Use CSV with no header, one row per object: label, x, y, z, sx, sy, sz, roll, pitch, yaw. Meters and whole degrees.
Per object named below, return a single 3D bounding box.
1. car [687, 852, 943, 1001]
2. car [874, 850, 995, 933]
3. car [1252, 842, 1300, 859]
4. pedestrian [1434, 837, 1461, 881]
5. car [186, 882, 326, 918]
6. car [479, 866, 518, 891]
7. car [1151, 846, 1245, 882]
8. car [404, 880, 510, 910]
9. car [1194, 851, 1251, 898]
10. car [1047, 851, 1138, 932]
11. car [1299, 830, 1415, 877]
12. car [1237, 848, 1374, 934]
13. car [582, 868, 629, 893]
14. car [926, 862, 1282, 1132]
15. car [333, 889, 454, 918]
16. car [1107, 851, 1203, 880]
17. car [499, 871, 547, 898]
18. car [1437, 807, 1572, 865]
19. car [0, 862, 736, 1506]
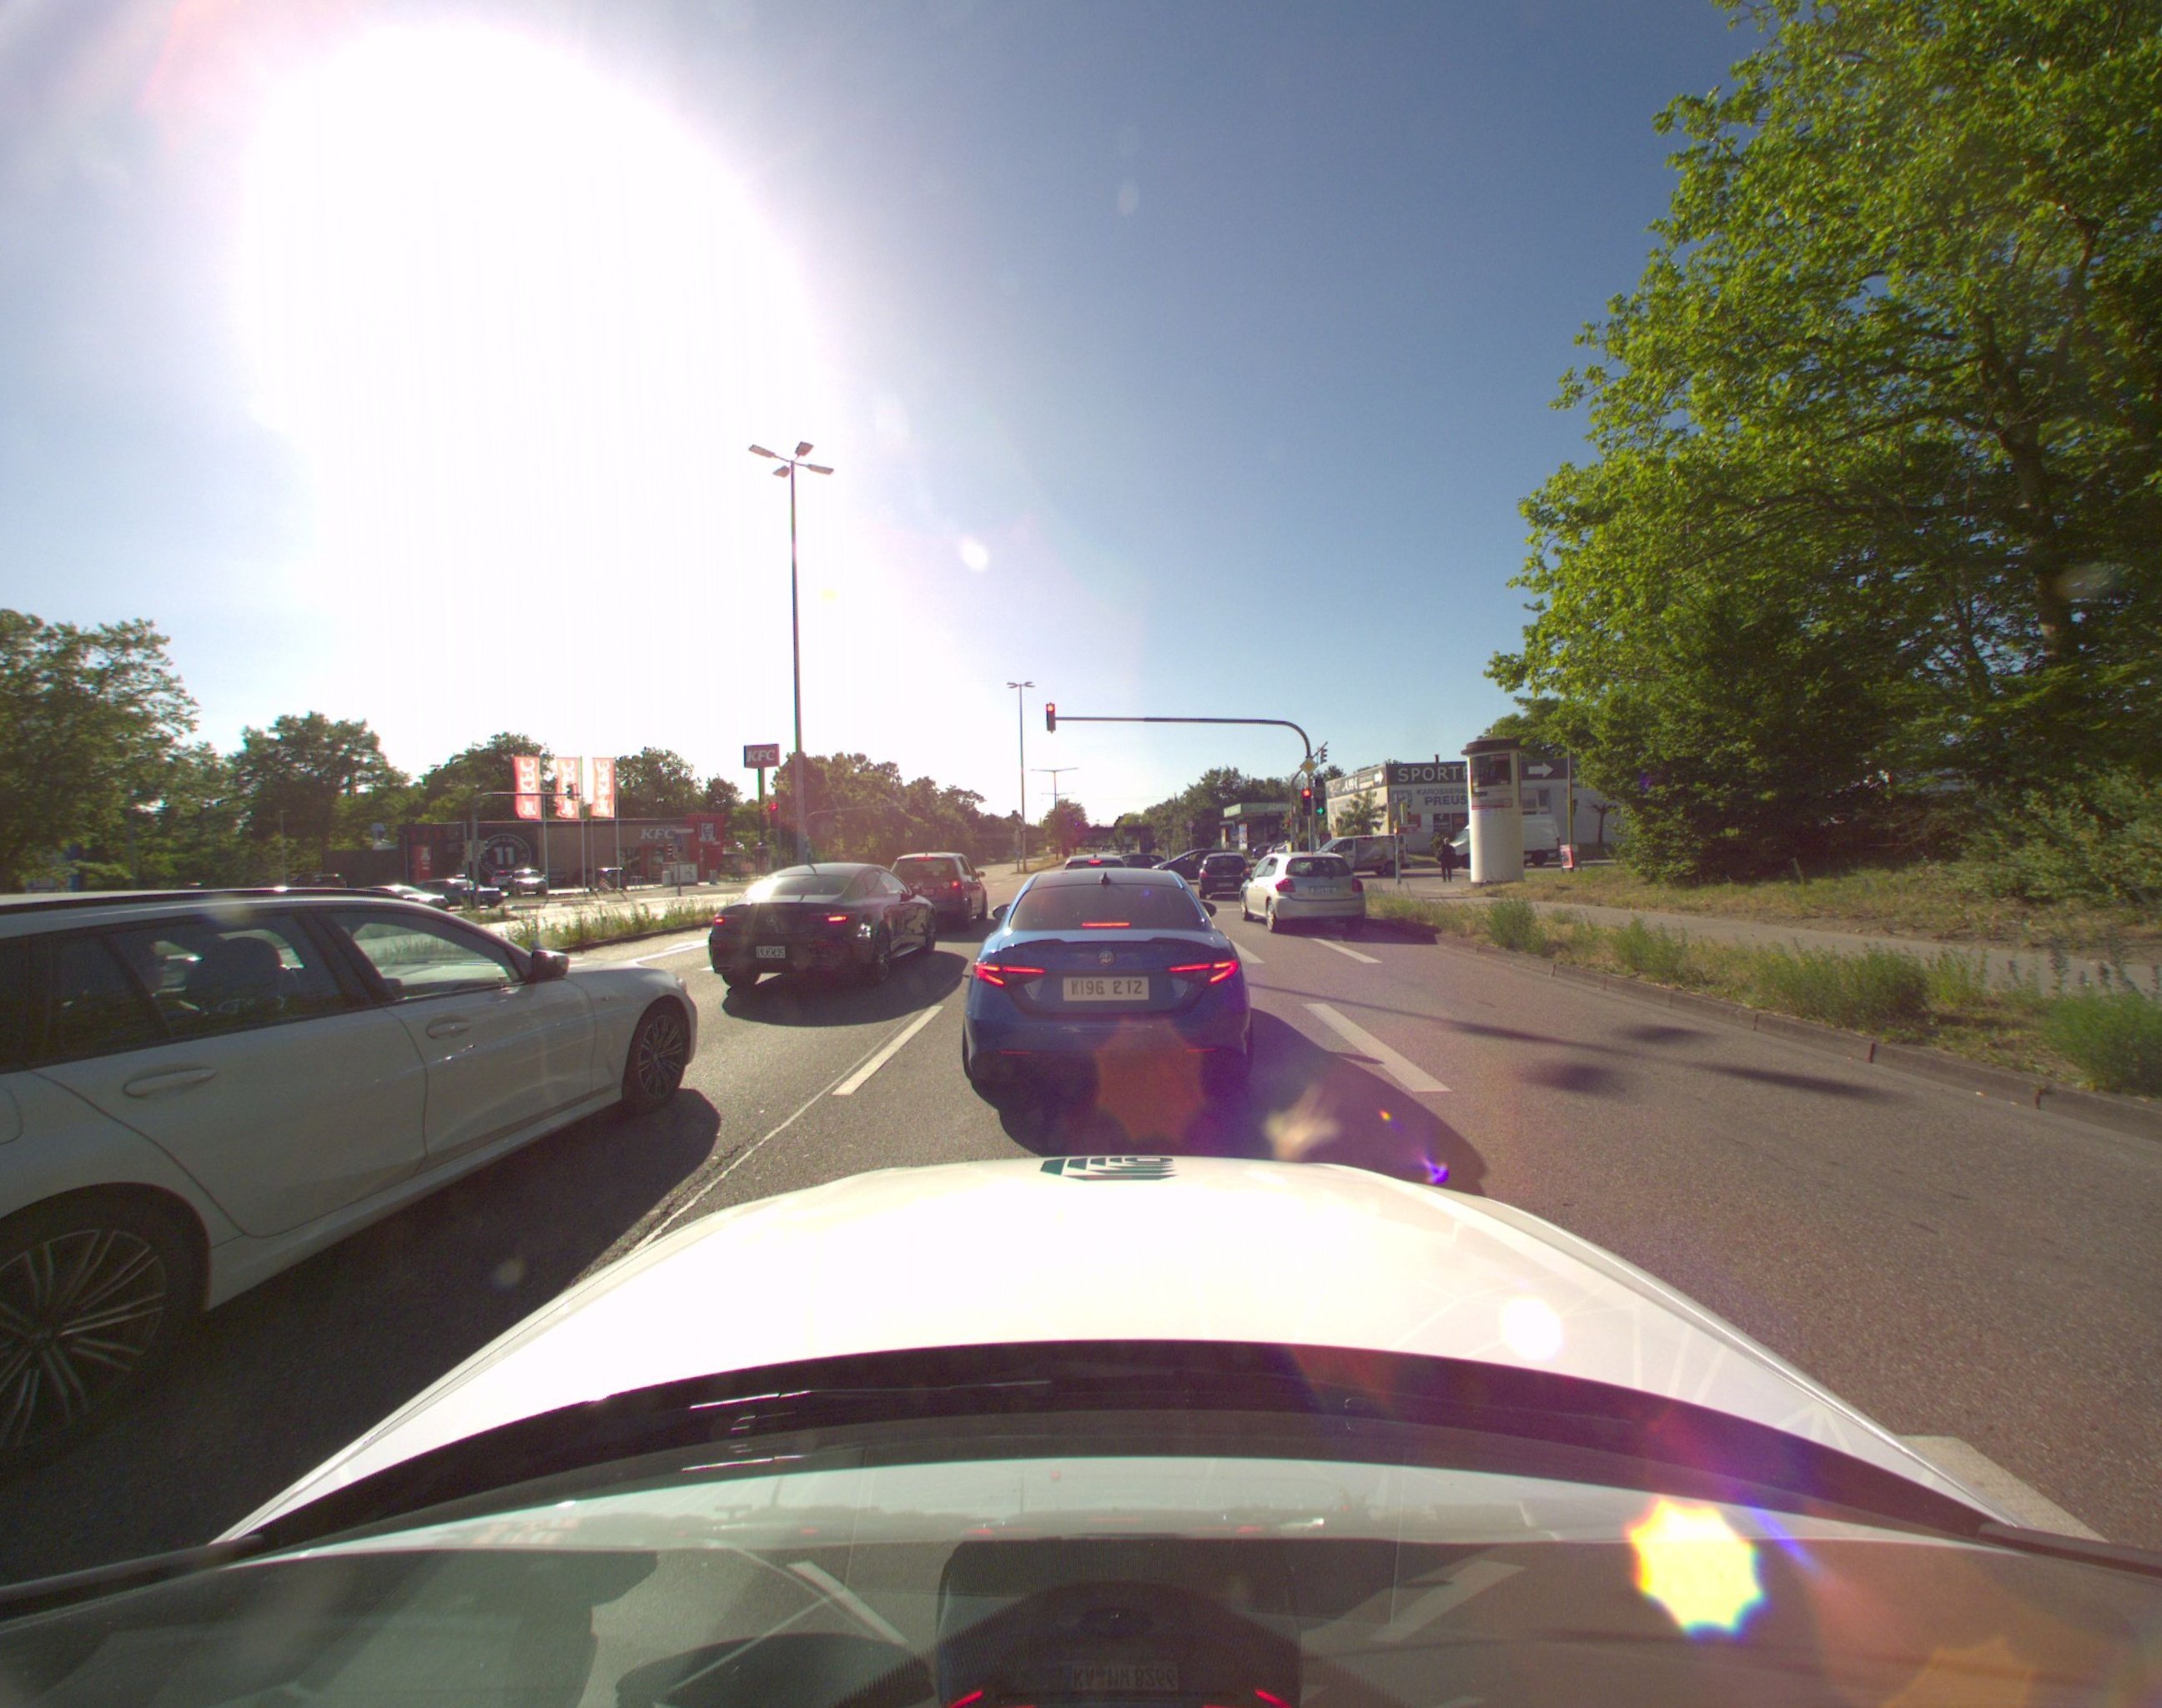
car,-3.192,0.762,10.852,1.806,1.551,4.544,-1,0,1
car,-3.006,0.734,17.612,1.806,1.551,4.353,0,-1,0
car,17.819,-0.310,74.445,3.971,1.552,2.001,0,-1,2
pedestrian,14.192,0.186,31.572,0.814,1.669,0.514,0,-1,1
car,-39.094,2.179,38.681,4.608,1.579,1.936,0,-1,0
car,-45.457,1.888,63.555,2.011,1.813,3.727,0,-1,-43
car,5.556,0.465,38.955,4.291,1.650,1.638,0,-1,1
car,-31.918,2.085,41.741,3.940,1.453,1.936,0,-1,0
car,4.735,0.630,26.936,1.723,1.442,4.385,0,0,11
car,0.325,0.717,17.014,1.696,1.497,3.722,0,-1,3
car,13.274,-0.038,39.341,4.937,2.035,1.881,-2,-1,0
car,4.395,0.651,16.571,1.777,1.537,4.109,0,0,2
car,-33.912,1.857,58.016,1.946,1.740,4.046,0,-1,-45
car,0.227,0.782,6.223,1.901,1.423,3.722,0,-1,3
car,-32.181,2.306,38.198,4.070,1.252,1.871,0,-1,0
car,3.777,0.598,42.074,4.803,1.468,1.758,0,-1,0
car,-37.379,2.012,54.545,1.946,1.740,4.046,0,-1,-45
car,21.872,-0.886,42.235,5.812,2.672,2.001,-3,-1,2
car,-3.421,0.820,3.409,1.805,1.486,4.599,-1,0,2
